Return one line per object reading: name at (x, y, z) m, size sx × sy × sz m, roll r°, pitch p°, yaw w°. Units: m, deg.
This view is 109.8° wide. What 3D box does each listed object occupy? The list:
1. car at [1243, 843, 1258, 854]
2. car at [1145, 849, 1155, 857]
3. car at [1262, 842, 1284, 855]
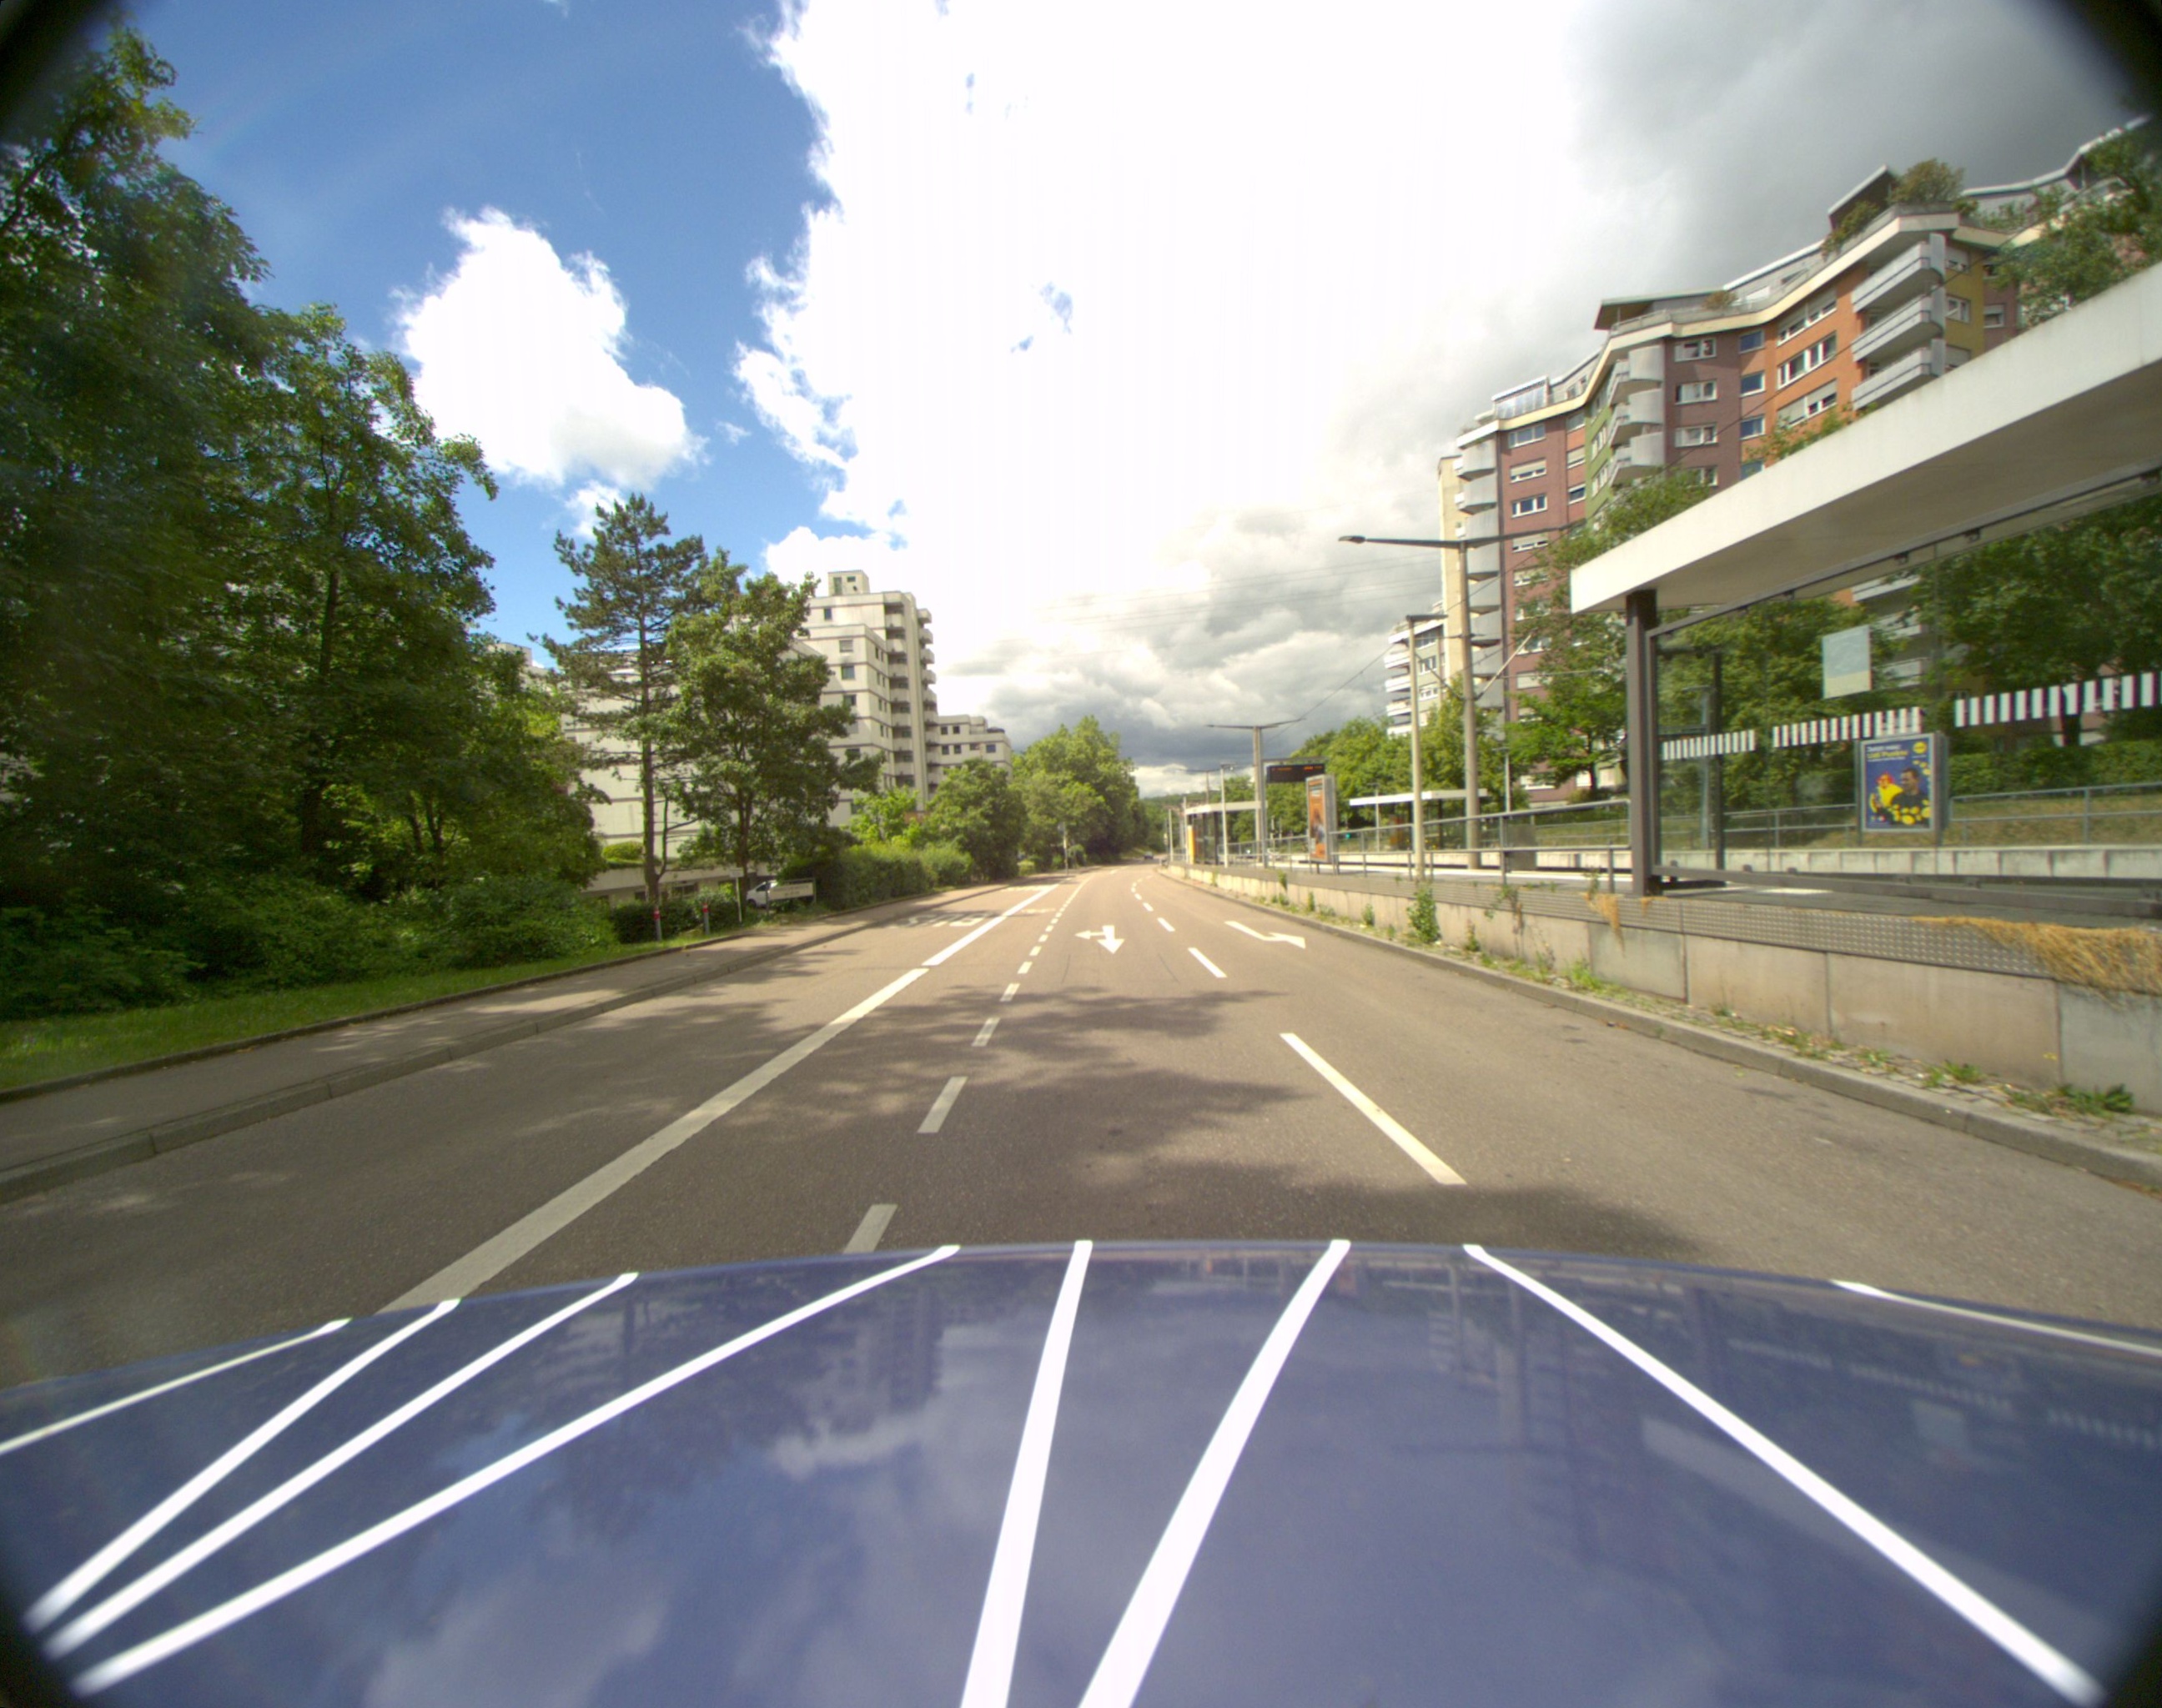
car at (23.888, -0.781, 107.174) m, size 1.658 × 1.503 × 3.738 m, roll -2°, pitch 0°, yaw 5°
car at (13.224, -0.244, 145.896) m, size 1.736 × 1.477 × 3.817 m, roll -2°, pitch 0°, yaw 5°
car at (22.859, -0.624, 90.495) m, size 1.658 × 1.410 × 4.000 m, roll -2°, pitch 0°, yaw 1°
